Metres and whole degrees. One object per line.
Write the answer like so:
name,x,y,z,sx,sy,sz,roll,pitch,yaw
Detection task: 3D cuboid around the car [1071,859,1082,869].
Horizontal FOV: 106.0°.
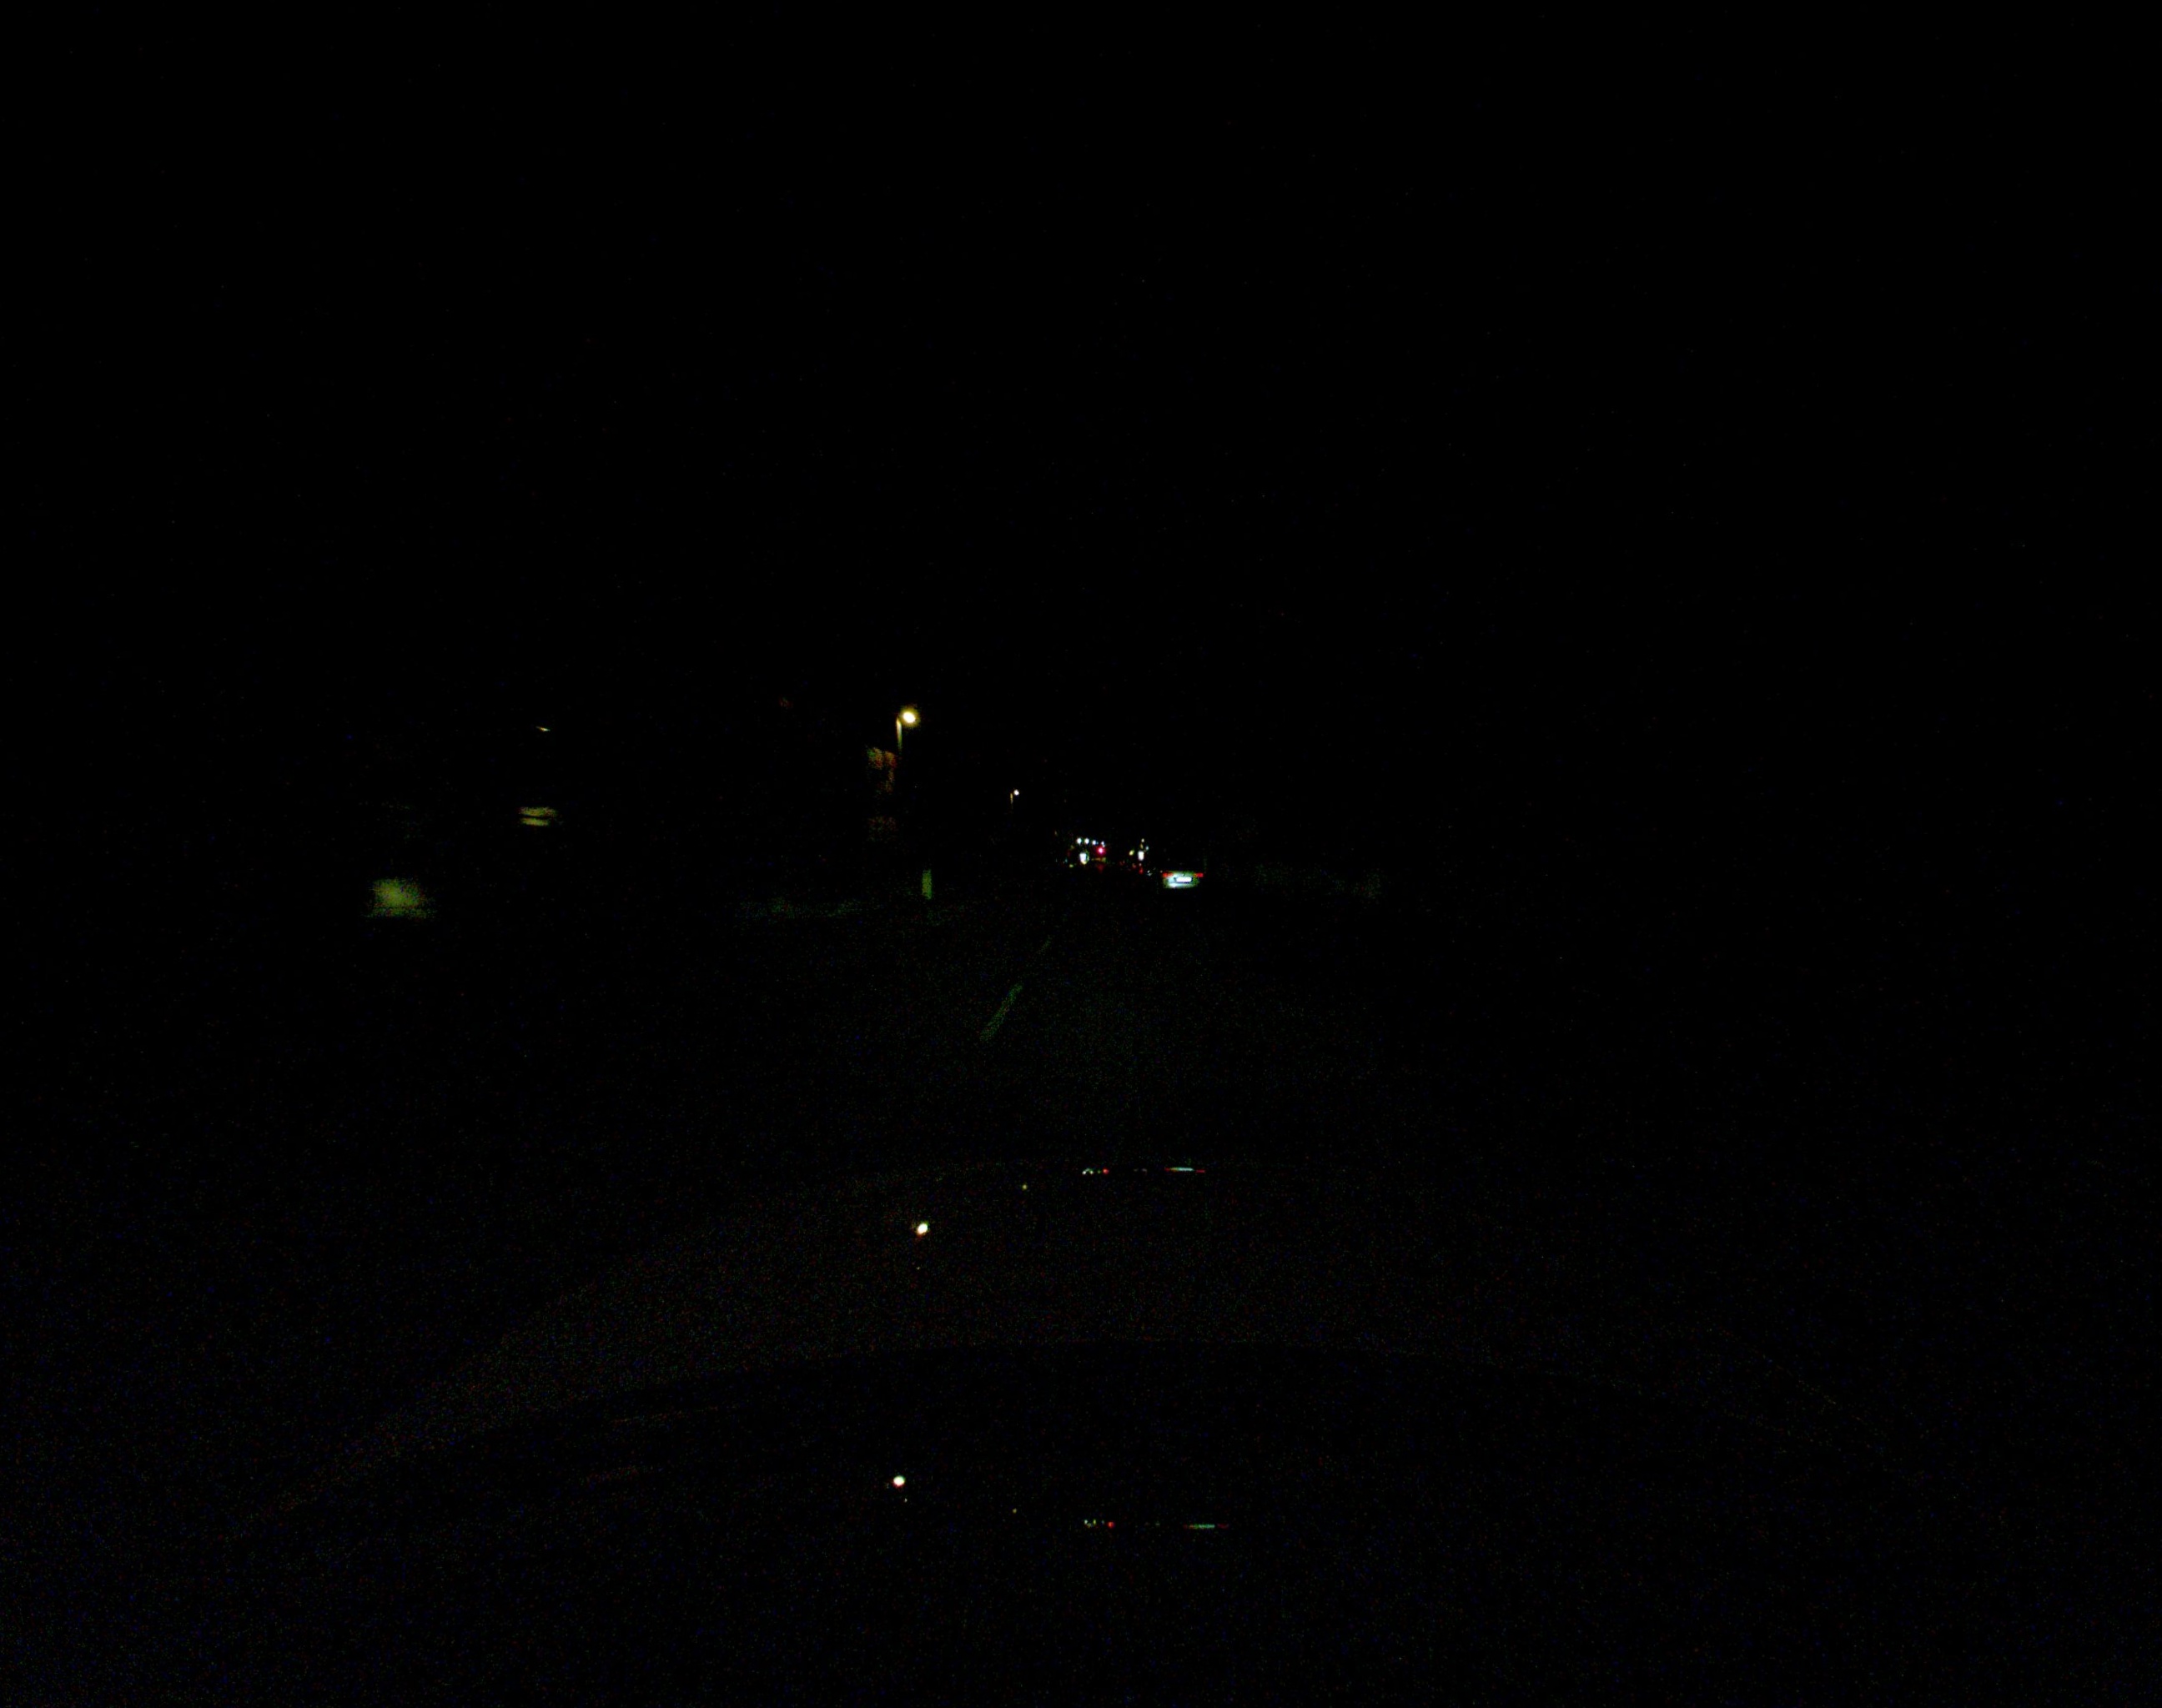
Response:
car,-0.811,1.674,138.652,1.747,1.539,3.731,-1,0,0

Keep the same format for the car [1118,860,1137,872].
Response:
car,5.391,1.386,94.612,1.679,1.448,3.993,0,0,-5

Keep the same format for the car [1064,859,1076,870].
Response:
car,-1.652,1.536,121.537,1.748,1.539,3.728,-1,0,-2

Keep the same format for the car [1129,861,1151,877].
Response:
car,5.428,1.315,74.503,1.859,1.403,4.006,0,0,6

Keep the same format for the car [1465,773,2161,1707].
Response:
car,2.817,0.679,1.979,1.824,1.664,4.623,-1,0,4

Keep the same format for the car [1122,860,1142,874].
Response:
car,5.613,1.442,89.961,1.679,1.448,3.995,0,0,-3

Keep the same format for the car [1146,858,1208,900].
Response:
car,3.642,0.919,31.582,1.758,1.475,4.272,1,0,-2

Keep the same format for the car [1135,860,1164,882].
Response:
car,4.590,1.101,54.952,1.624,1.439,3.864,-1,0,0

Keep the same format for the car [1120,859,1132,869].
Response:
car,6.948,1.504,126.184,1.676,1.539,4.002,-1,0,2

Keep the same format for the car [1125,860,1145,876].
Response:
car,5.253,1.350,79.356,1.677,1.448,3.999,0,0,0

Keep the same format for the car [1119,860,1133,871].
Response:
car,5.827,1.495,105.786,1.677,1.448,3.999,0,0,0
